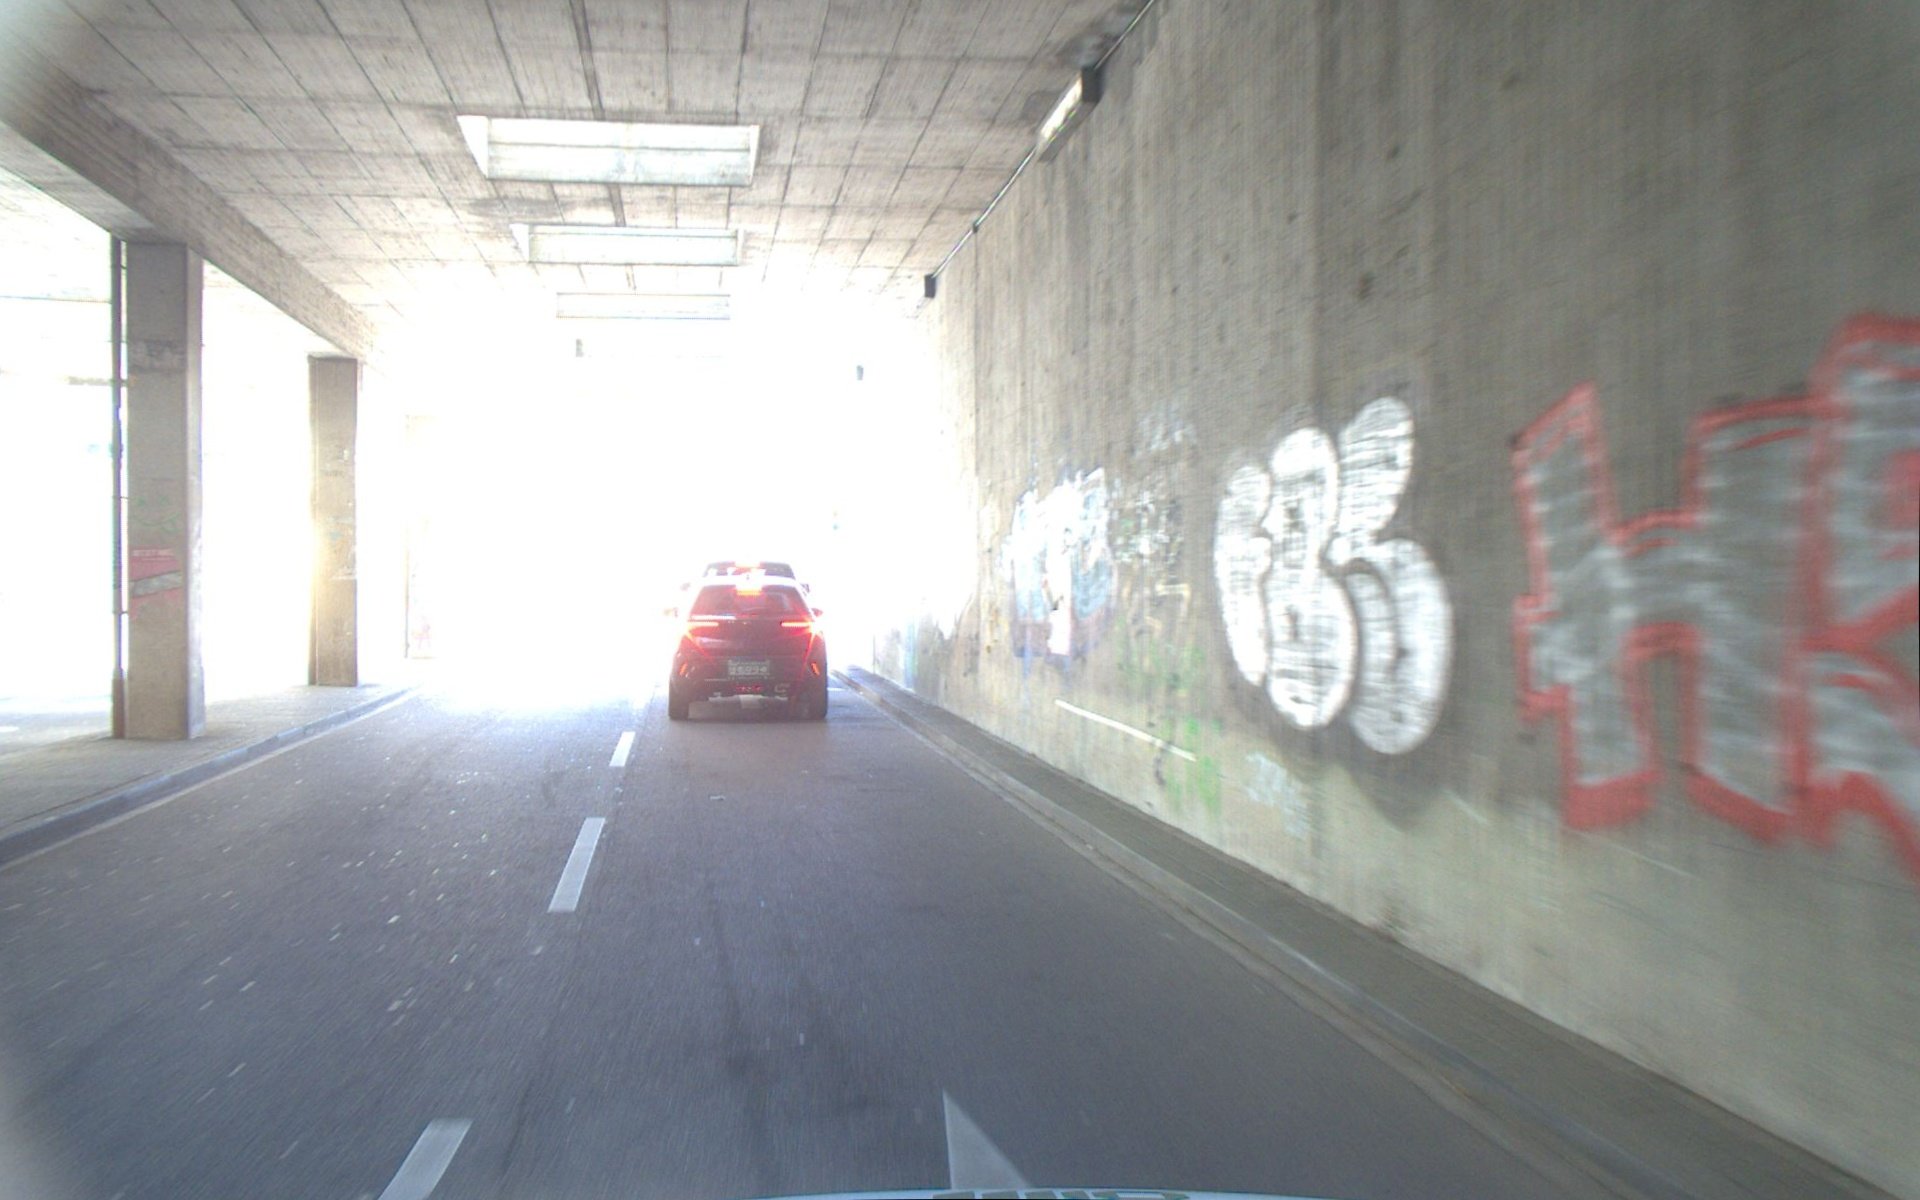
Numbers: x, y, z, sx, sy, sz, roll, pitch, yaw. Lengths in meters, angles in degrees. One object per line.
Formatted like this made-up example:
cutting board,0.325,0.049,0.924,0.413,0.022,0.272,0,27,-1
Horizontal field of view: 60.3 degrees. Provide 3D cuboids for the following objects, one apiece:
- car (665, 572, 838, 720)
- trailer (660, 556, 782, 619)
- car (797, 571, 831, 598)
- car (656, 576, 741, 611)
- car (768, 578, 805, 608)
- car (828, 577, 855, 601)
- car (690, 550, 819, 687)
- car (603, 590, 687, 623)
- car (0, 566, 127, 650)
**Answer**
car,-2.485,0.445,19.342,1.792,1.527,4.203,0,1,-9
trailer,-7.989,-0.432,55.513,3.909,2.049,1.998,-1,1,-5
car,-11.277,-1.212,128.080,1.952,2.049,4.270,0,1,3
car,-13.445,-0.347,85.277,4.067,1.769,1.999,-1,1,-3
car,-12.291,-0.494,117.479,1.952,2.049,4.270,0,1,3
car,-10.736,-1.018,150.233,1.952,2.049,4.270,0,1,3
car,-3.258,0.223,25.555,1.782,1.915,4.575,-1,1,-9
car,-15.338,0.305,80.711,3.910,1.601,1.638,0,0,-6
car,-24.410,0.187,43.082,4.397,2.048,1.996,0,3,-10
